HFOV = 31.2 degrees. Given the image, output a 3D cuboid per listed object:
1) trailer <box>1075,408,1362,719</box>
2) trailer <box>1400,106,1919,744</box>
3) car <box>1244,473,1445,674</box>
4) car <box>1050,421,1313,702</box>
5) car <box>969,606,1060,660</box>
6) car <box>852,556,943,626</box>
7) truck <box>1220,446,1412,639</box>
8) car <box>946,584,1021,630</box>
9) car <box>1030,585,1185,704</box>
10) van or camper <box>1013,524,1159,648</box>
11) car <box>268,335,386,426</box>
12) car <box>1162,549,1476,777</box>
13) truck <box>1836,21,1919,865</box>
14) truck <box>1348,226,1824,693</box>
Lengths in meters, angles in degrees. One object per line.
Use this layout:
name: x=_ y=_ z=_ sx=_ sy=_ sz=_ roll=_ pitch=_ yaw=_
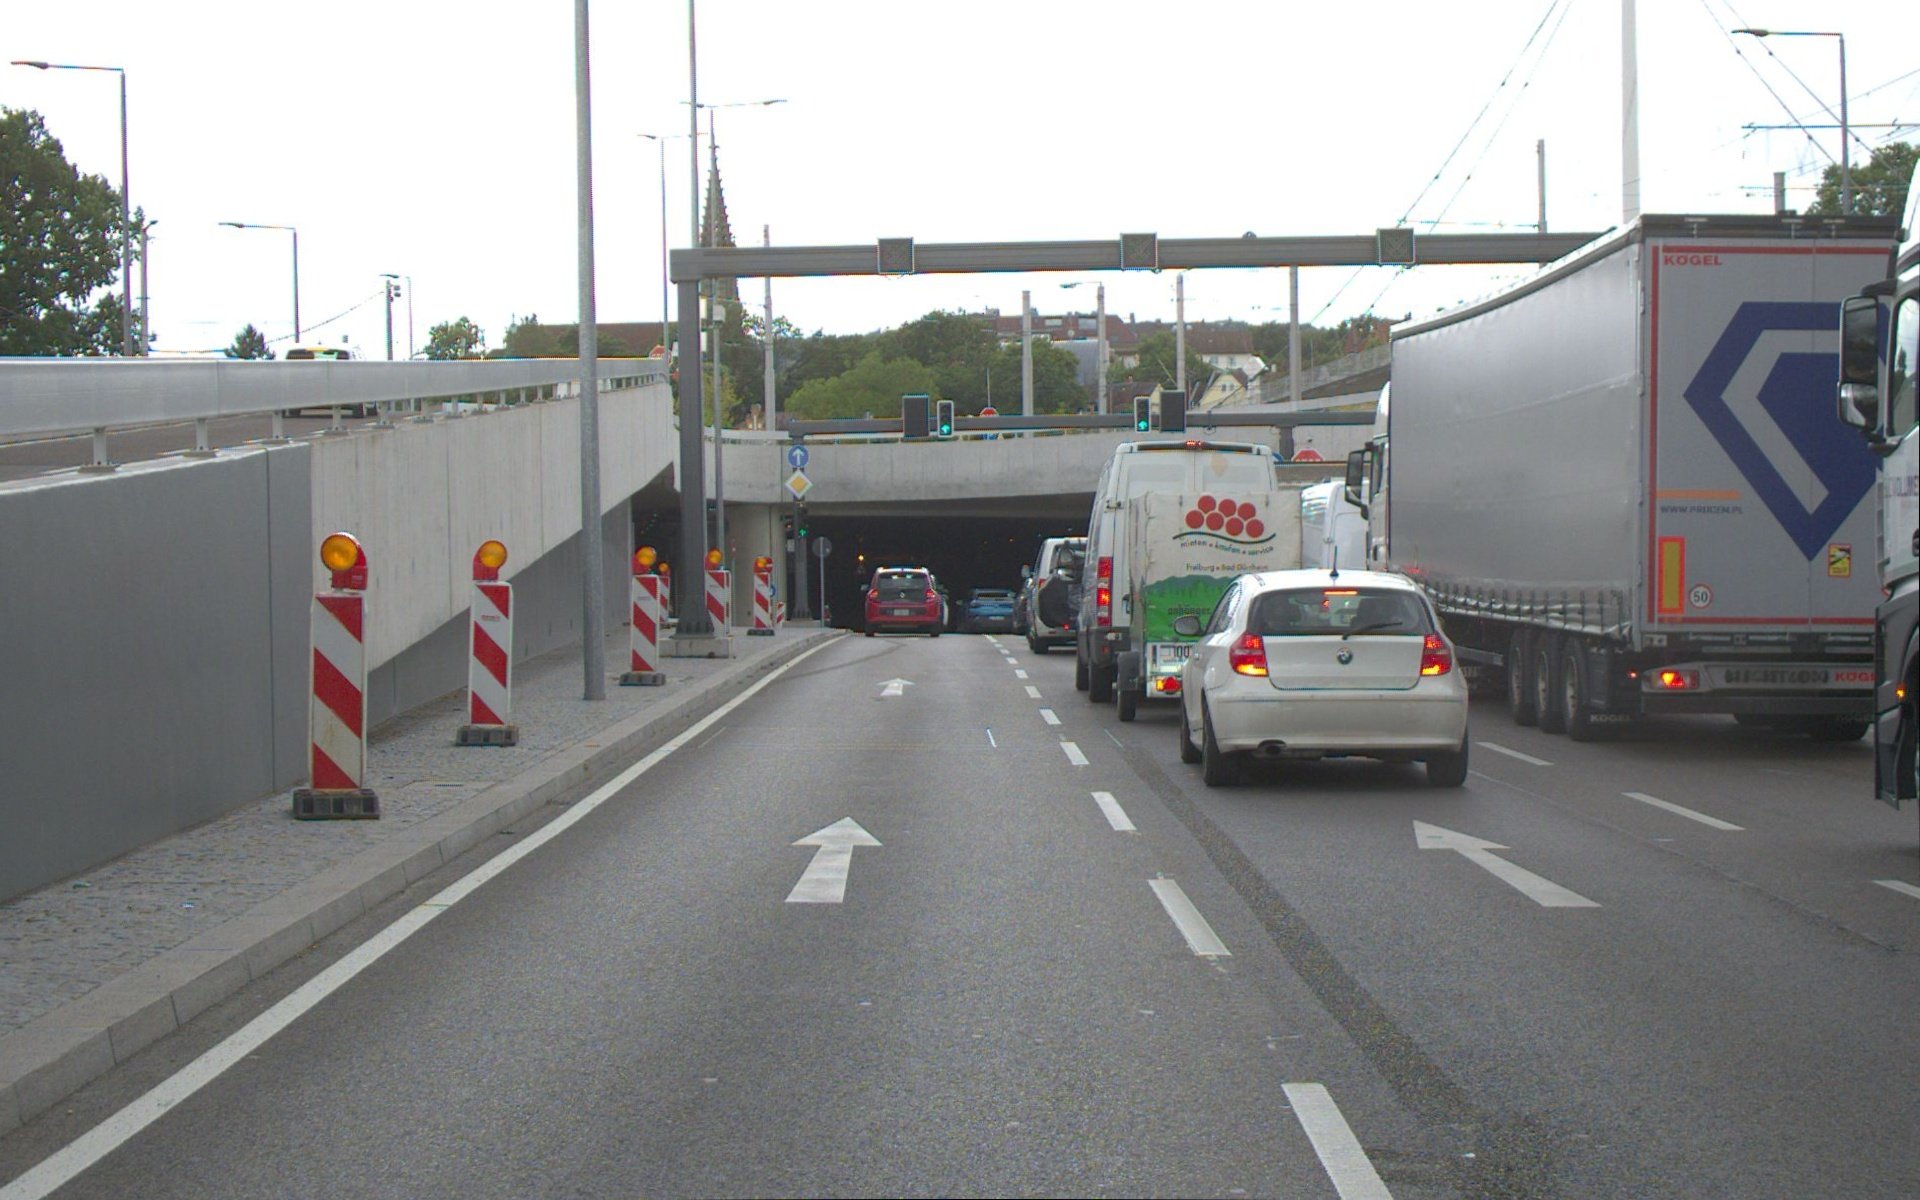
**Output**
trailer: x=2.356 y=-0.332 z=32.632 sx=2.103 sy=2.630 sz=4.810 roll=3 pitch=0 yaw=-2
trailer: x=6.725 y=-1.351 z=31.123 sx=3.805 sy=4.615 sz=12.114 roll=1 pitch=1 yaw=0
car: x=5.630 y=-0.434 z=51.308 sx=2.075 sy=2.763 sz=7.327 roll=0 pitch=1 yaw=-1
car: x=2.224 y=-0.382 z=36.282 sx=2.058 sy=2.619 sz=5.943 roll=3 pitch=0 yaw=-2
car: x=1.292 y=0.798 z=82.648 sx=1.663 sy=1.243 sz=3.567 roll=-1 pitch=-1 yaw=-8
car: x=-1.428 y=-0.185 z=76.785 sx=1.660 sy=1.483 sz=3.567 roll=-1 pitch=-1 yaw=-7
truck: x=6.198 y=-0.968 z=60.835 sx=2.649 sy=3.174 sz=7.426 roll=-1 pitch=0 yaw=1
car: x=0.744 y=0.213 z=111.713 sx=1.993 sy=1.382 sz=4.001 roll=0 pitch=1 yaw=-6
car: x=2.072 y=0.608 z=49.301 sx=1.681 sy=1.539 sz=3.694 roll=1 pitch=1 yaw=-6
van or camper: x=1.974 y=-0.176 z=55.475 sx=1.993 sy=1.839 sz=5.508 roll=1 pitch=-1 yaw=-1
car: x=-12.063 y=-4.165 z=65.688 sx=1.743 sy=1.428 sz=3.776 roll=3 pitch=0 yaw=-4
car: x=2.412 y=0.385 z=24.028 sx=1.716 sy=1.393 sz=4.347 roll=2 pitch=0 yaw=0
truck: x=6.466 y=-0.701 z=12.853 sx=3.724 sy=4.127 sz=10.983 roll=1 pitch=1 yaw=1
truck: x=6.682 y=-1.457 z=38.111 sx=3.805 sy=4.615 sz=7.443 roll=1 pitch=1 yaw=0
